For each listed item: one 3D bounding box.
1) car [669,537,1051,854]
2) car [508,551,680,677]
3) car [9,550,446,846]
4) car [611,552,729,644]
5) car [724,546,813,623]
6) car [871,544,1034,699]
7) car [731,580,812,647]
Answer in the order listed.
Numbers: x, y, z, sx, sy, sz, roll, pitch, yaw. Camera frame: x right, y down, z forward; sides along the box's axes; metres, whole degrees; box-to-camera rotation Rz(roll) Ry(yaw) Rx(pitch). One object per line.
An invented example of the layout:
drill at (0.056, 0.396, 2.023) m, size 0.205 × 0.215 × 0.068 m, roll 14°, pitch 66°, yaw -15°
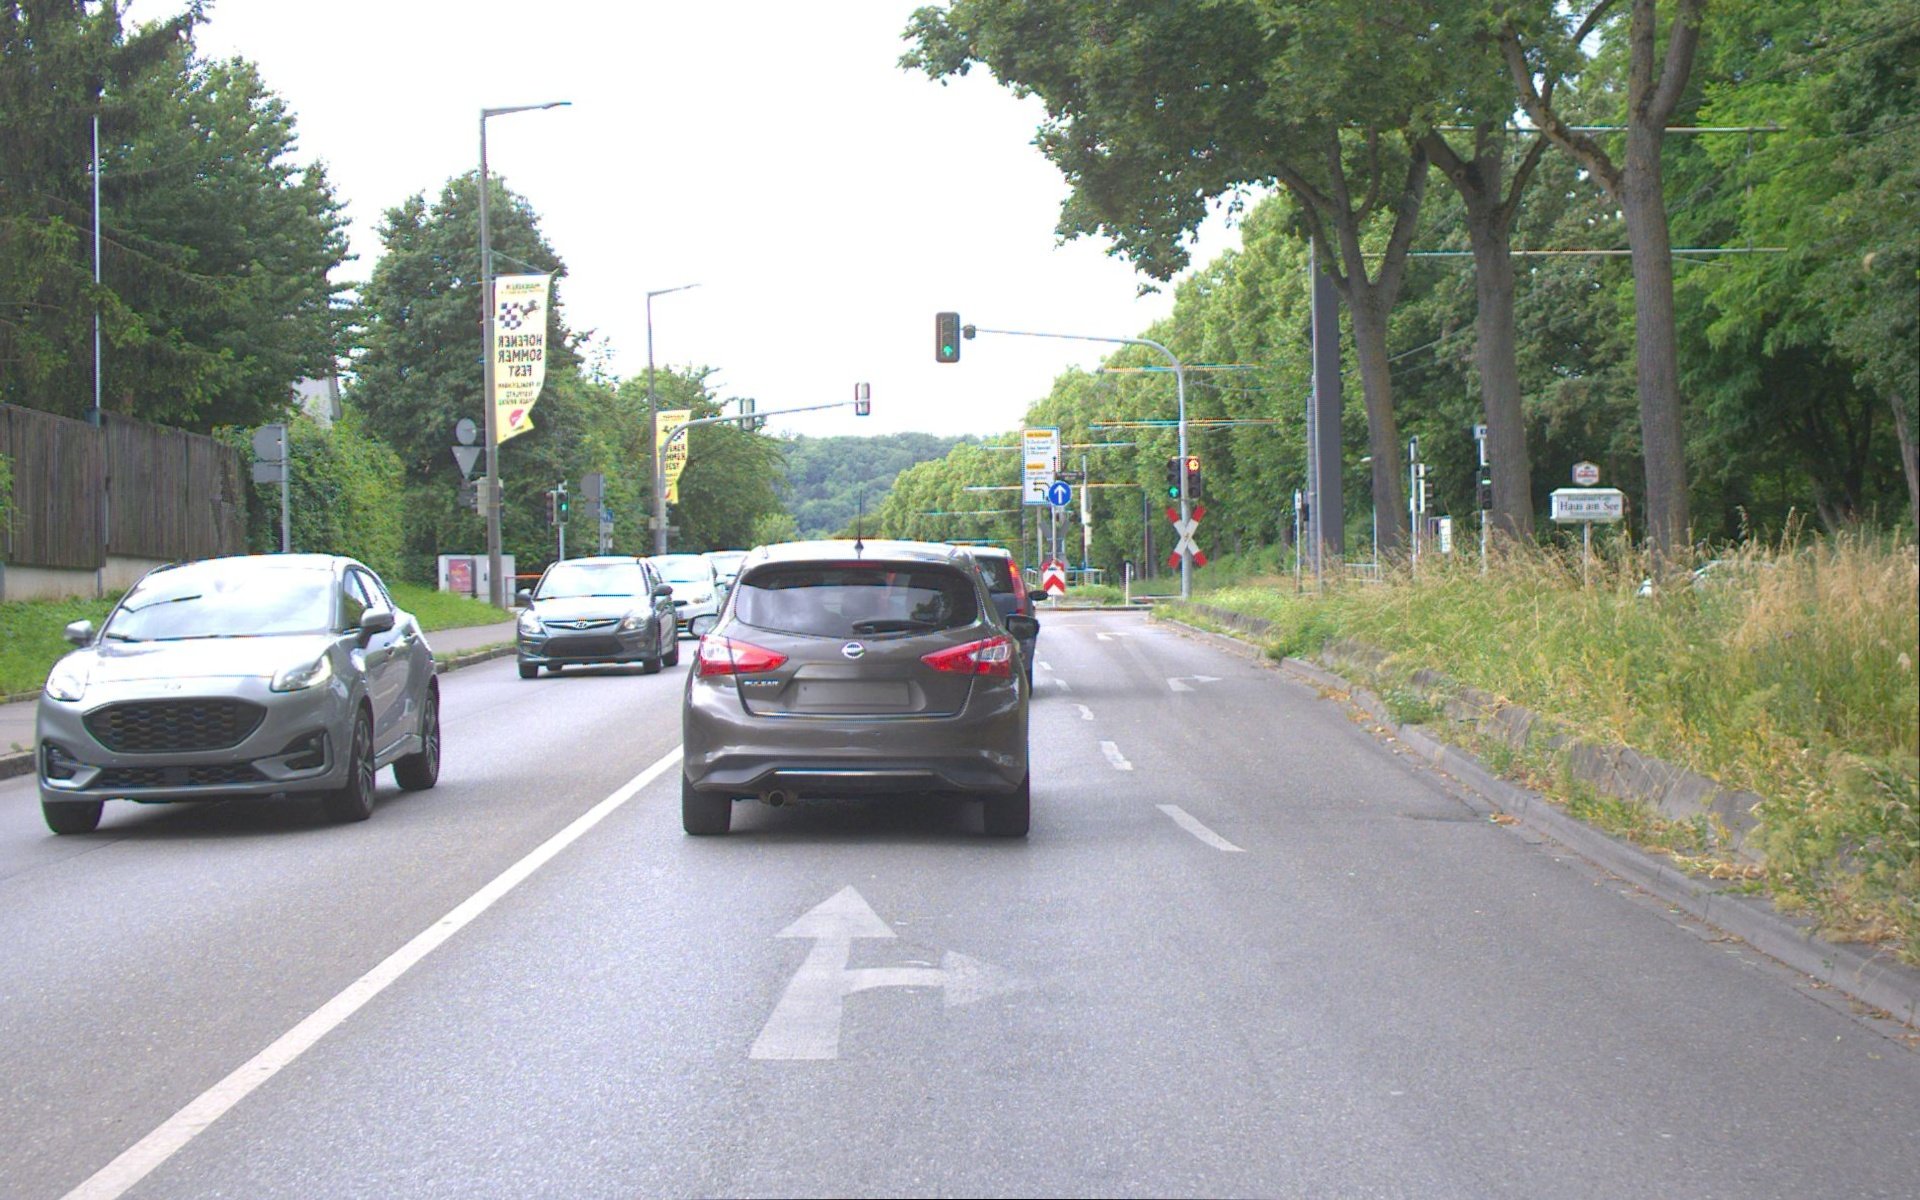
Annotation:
car at (-0.476, 0.425, 18.925) m, size 1.835 × 1.514 × 4.483 m, roll 1°, pitch 1°, yaw 0°
car at (-4.632, 0.140, 44.029) m, size 1.728 × 1.459 × 4.154 m, roll -2°, pitch 1°, yaw 0°
car at (-4.235, 0.495, 20.481) m, size 1.751 × 1.513 × 4.000 m, roll -2°, pitch 1°, yaw -1°
car at (-5.116, -0.059, 61.075) m, size 1.618 × 1.456 × 4.072 m, roll -4°, pitch 1°, yaw 1°
car at (-3.943, -0.350, 71.164) m, size 1.643 × 1.476 × 4.107 m, roll -3°, pitch 1°, yaw -1°
car at (-0.064, 0.173, 34.591) m, size 1.538 × 1.473 × 3.764 m, roll 0°, pitch 1°, yaw 0°
car at (-4.656, 0.319, 85.396) m, size 1.812 × 1.519 × 4.177 m, roll -2°, pitch 1°, yaw -2°
